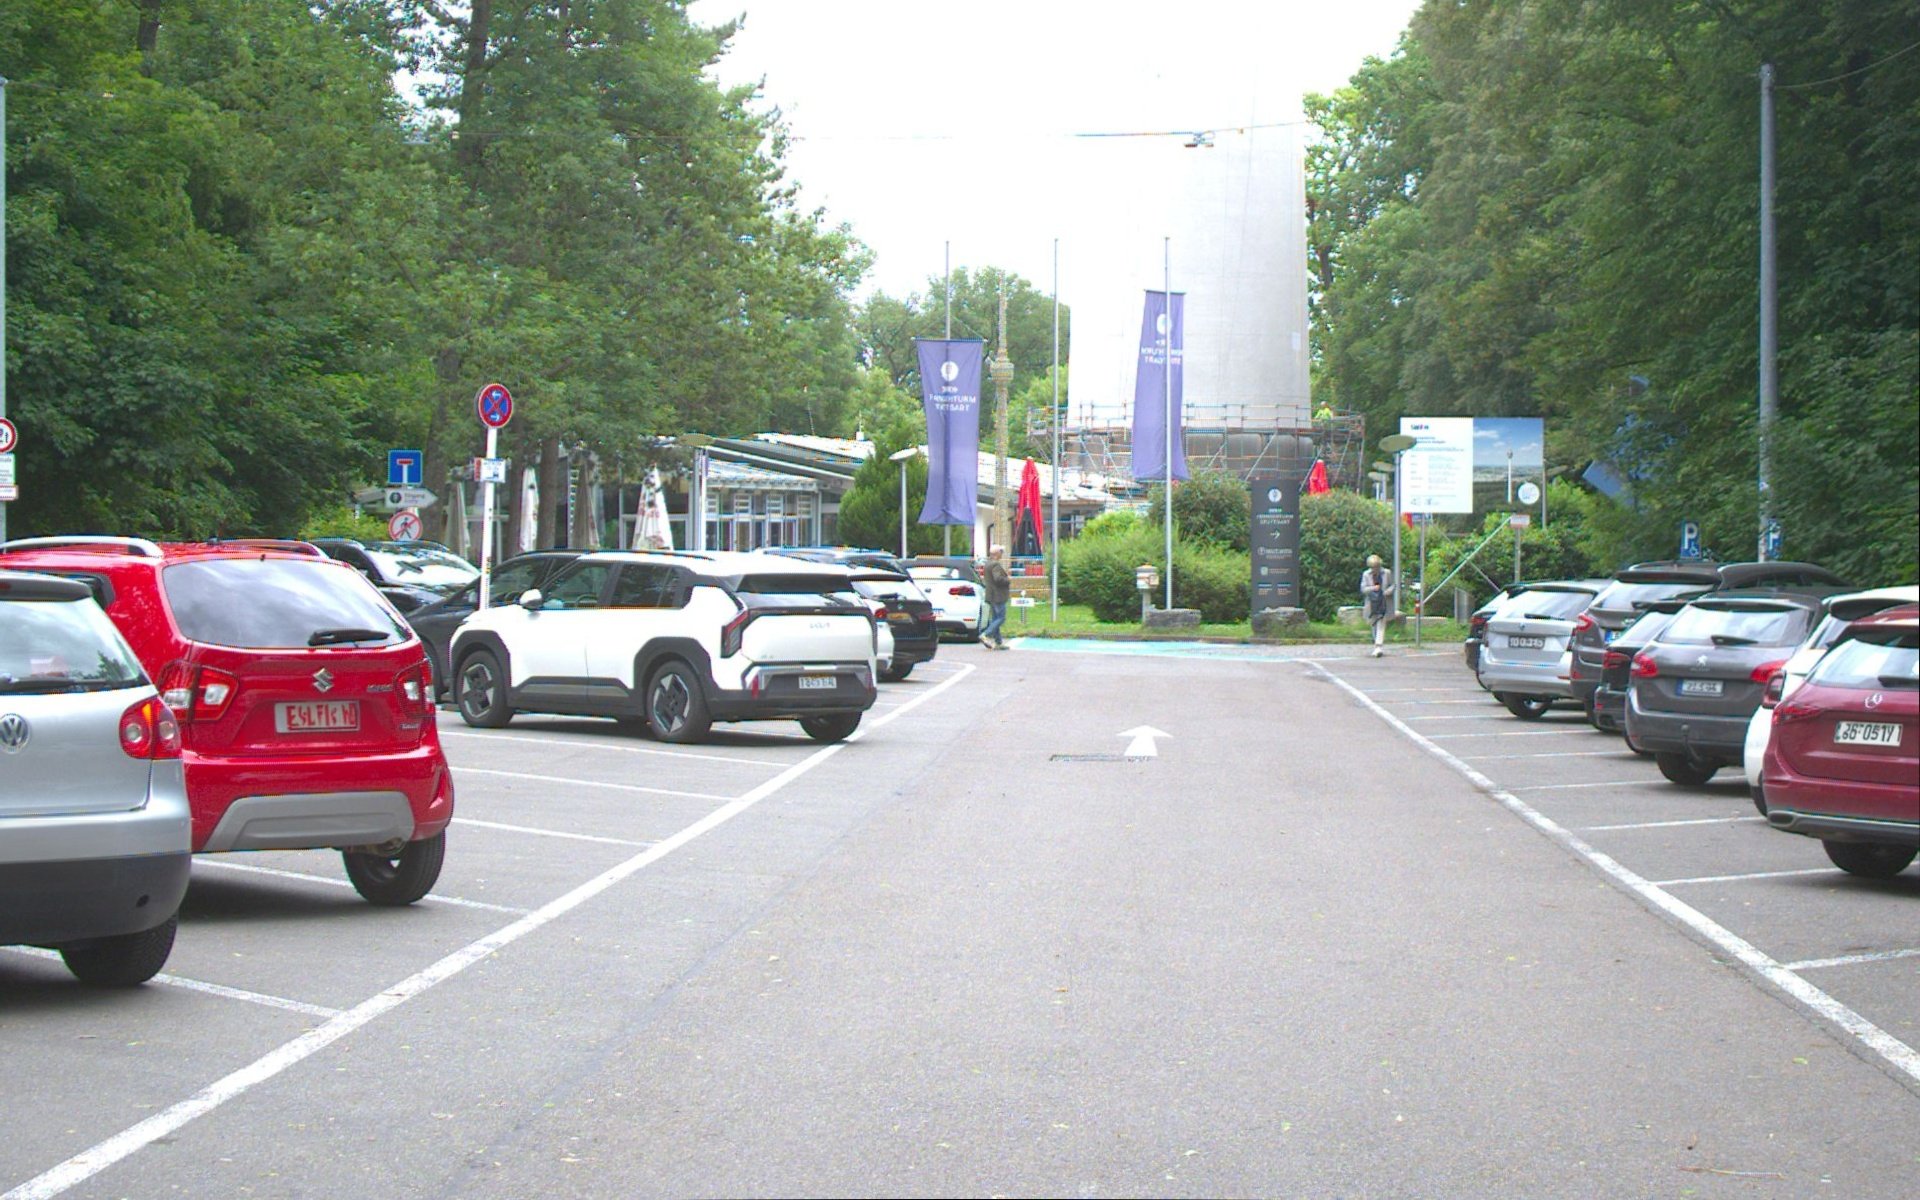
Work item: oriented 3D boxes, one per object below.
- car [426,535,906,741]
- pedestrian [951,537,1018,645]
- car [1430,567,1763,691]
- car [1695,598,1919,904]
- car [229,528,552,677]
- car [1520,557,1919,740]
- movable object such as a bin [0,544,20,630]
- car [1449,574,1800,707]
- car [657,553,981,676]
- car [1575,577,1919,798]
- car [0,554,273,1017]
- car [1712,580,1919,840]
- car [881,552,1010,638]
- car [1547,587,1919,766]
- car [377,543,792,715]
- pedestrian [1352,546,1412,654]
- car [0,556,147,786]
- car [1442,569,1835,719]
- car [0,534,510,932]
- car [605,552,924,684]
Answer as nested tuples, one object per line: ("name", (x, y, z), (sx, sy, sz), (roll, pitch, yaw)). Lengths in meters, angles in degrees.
("car", (-2.567, 0.273, 29.291), (1.841, 1.591, 4.188), (0, 1, -44))
("pedestrian", (0.398, -0.150, 56.007), (0.894, 1.719, 0.764), (1, 1, -13))
("car", (8.085, 0.358, 43.497), (4.192, 1.457, 1.899), (1, 1, -40))
("car", (5.990, 0.735, 17.729), (4.283, 1.409, 1.928), (1, 1, -37))
("car", (-6.844, 0.003, 41.084), (1.893, 1.657, 3.998), (1, 1, -43))
("car", (7.564, 0.439, 33.171), (4.250, 1.631, 1.965), (0, 1, -41))
("movable object such as a bin", (-15.116, -0.209, 52.608), (1.168, 1.303, 1.313), (1, 1, -26))
("car", (7.701, 0.452, 39.668), (3.988, 1.417, 1.909), (0, 1, -41))
("car", (-1.846, 0.154, 43.836), (1.755, 1.438, 4.276), (0, 1, -43))
("car", (6.541, 0.586, 25.067), (4.175, 1.452, 1.804), (0, 1, -41))
("car", (-4.396, 0.553, 12.452), (1.872, 1.478, 3.998), (1, 1, -44))
("car", (6.603, 0.646, 21.749), (3.572, 1.499, 1.734), (0, 1, -39))
("car", (-0.218, -0.107, 60.373), (1.893, 1.423, 3.999), (1, 1, 5))
("car", (7.086, 0.603, 29.156), (4.251, 1.373, 1.964), (0, 1, -43))
("car", (-3.731, 0.243, 33.814), (3.997, 1.549, 1.868), (2, 1, 42))
("pedestrian", (6.883, -0.005, 56.069), (0.762, 1.719, 0.896), (1, 1, 19))
("car", (-7.451, 0.408, 23.223), (1.864, 1.437, 4.314), (0, 1, -44))
("car", (7.159, 0.429, 36.150), (3.988, 1.462, 1.835), (0, 1, -37))
("car", (-3.825, 0.499, 15.591), (1.682, 1.580, 3.652), (0, 1, -44))
("car", (-2.354, 0.187, 40.638), (1.767, 1.438, 3.844), (1, 1, -41))
